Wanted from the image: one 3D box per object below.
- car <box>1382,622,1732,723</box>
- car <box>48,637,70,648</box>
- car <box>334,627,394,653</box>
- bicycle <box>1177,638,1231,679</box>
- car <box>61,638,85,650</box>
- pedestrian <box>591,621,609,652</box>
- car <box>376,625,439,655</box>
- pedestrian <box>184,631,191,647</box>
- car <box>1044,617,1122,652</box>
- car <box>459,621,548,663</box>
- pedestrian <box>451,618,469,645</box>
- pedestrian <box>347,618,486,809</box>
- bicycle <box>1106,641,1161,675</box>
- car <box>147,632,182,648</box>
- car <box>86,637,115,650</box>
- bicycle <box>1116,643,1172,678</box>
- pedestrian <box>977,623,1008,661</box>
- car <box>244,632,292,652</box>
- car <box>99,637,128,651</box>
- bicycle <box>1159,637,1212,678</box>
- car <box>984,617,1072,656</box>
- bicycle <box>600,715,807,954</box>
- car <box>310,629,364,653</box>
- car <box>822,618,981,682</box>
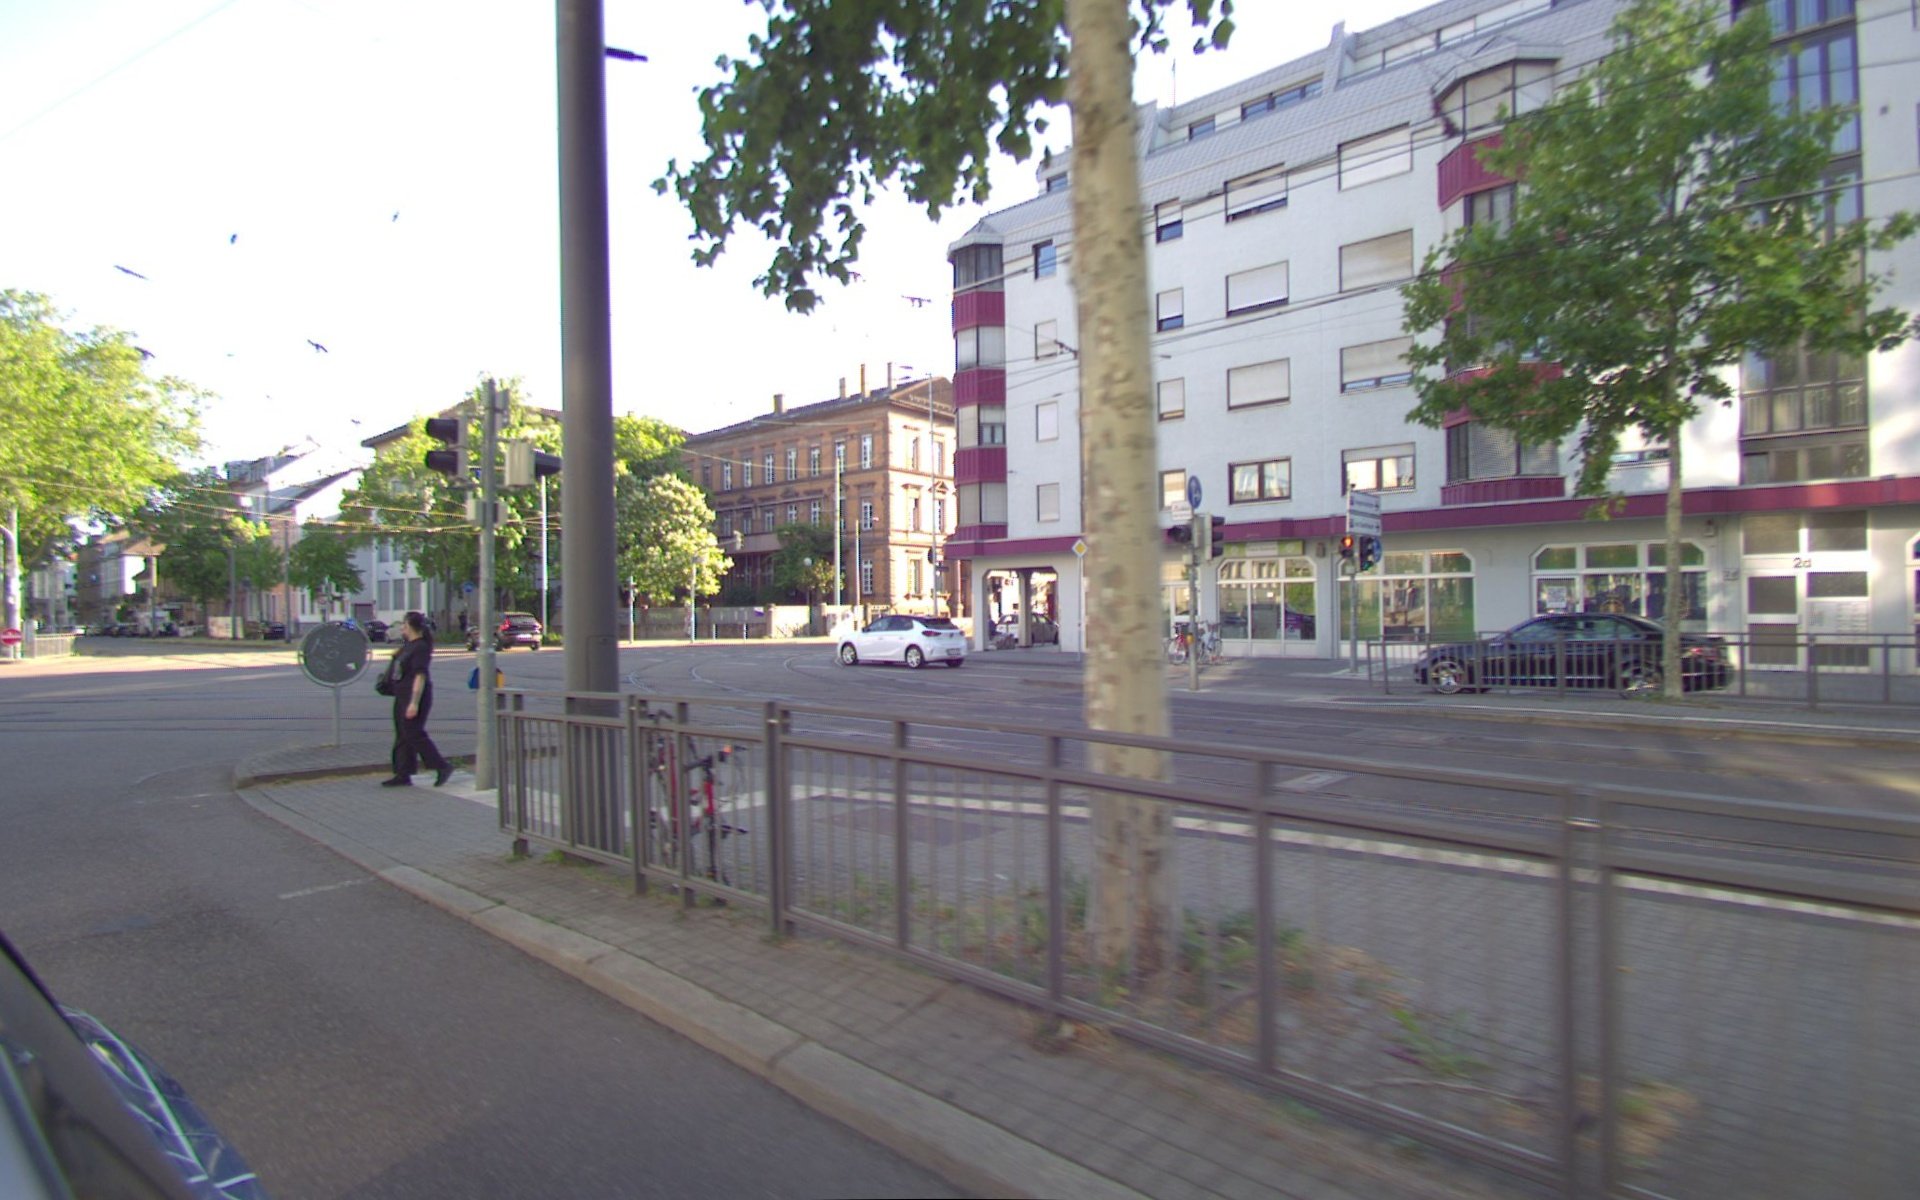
[{"bbox_3d":[9.531,1.087,16.421,4.649,1.410,1.682,-2,-2,41],"label":"car"},{"bbox_3d":[-140.315,6.629,157.619,4.006,1.551,2.061,-2,1,40],"label":"car"},{"bbox_3d":[-39.717,2.652,67.374,4.454,1.513,2.061,-2,1,40],"label":"car"},{"bbox_3d":[6.291,1.486,26.030,0.553,0.992,1.824,-2,-2,41],"label":"bicycle"},{"bbox_3d":[-132.363,6.571,151.041,4.253,1.551,2.061,-2,1,40],"label":"car"},{"bbox_3d":[-19.725,1.993,55.440,0.628,1.677,0.564,-2,0,26],"label":"pedestrian"},{"bbox_3d":[-34.449,2.487,63.102,4.095,1.631,2.061,-2,1,40],"label":"car"},{"bbox_3d":[-89.154,4.549,116.784,0.705,1.823,0.554,-2,-2,43],"label":"pedestrian"},{"bbox_3d":[5.847,1.603,47.697,1.995,1.567,4.074,-2,-1,35],"label":"car"},{"bbox_3d":[-19.660,1.807,43.514,4.259,1.685,1.934,-2,-2,42],"label":"car"},{"bbox_3d":[-33.015,2.112,66.855,1.019,1.765,0.726,-2,-2,41],"label":"pedestrian"},{"bbox_3d":[-4.756,0.942,8.856,1.031,1.556,0.696,0,-2,-32],"label":"pedestrian"},{"bbox_3d":[4.874,1.609,28.326,1.821,0.860,0.553,1,-2,-44],"label":"bicycle"},{"bbox_3d":[-87.011,4.375,110.668,4.529,1.686,2.061,-2,1,40],"label":"car"},{"bbox_3d":[-114.057,5.797,134.291,5.101,1.551,2.061,-2,1,40],"label":"car"},{"bbox_3d":[4.993,1.628,27.392,1.821,0.860,0.553,1,-2,-44],"label":"bicycle"},{"bbox_3d":[1.242,1.582,38.250,0.834,1.395,0.849,-2,-2,33],"label":"pedestrian"},{"bbox_3d":[-56.428,3.396,82.522,4.576,1.481,2.061,-2,1,40],"label":"car"},{"bbox_3d":[-104.679,5.456,125.136,4.513,1.551,2.061,-2,1,40],"label":"car"},{"bbox_3d":[5.932,1.490,26.535,0.553,0.992,1.824,-2,-2,41],"label":"bicycle"},{"bbox_3d":[2.946,1.524,43.195,1.995,1.567,3.952,-2,-2,35],"label":"car"},{"bbox_3d":[-1.294,1.066,4.943,0.391,0.956,1.353,1,-5,-41],"label":"bicycle"},{"bbox_3d":[-44.034,2.876,71.522,3.994,1.501,2.061,-2,1,40],"label":"car"},{"bbox_3d":[-1.654,1.333,27.568,4.260,1.607,1.933,-2,-2,43],"label":"car"}]
